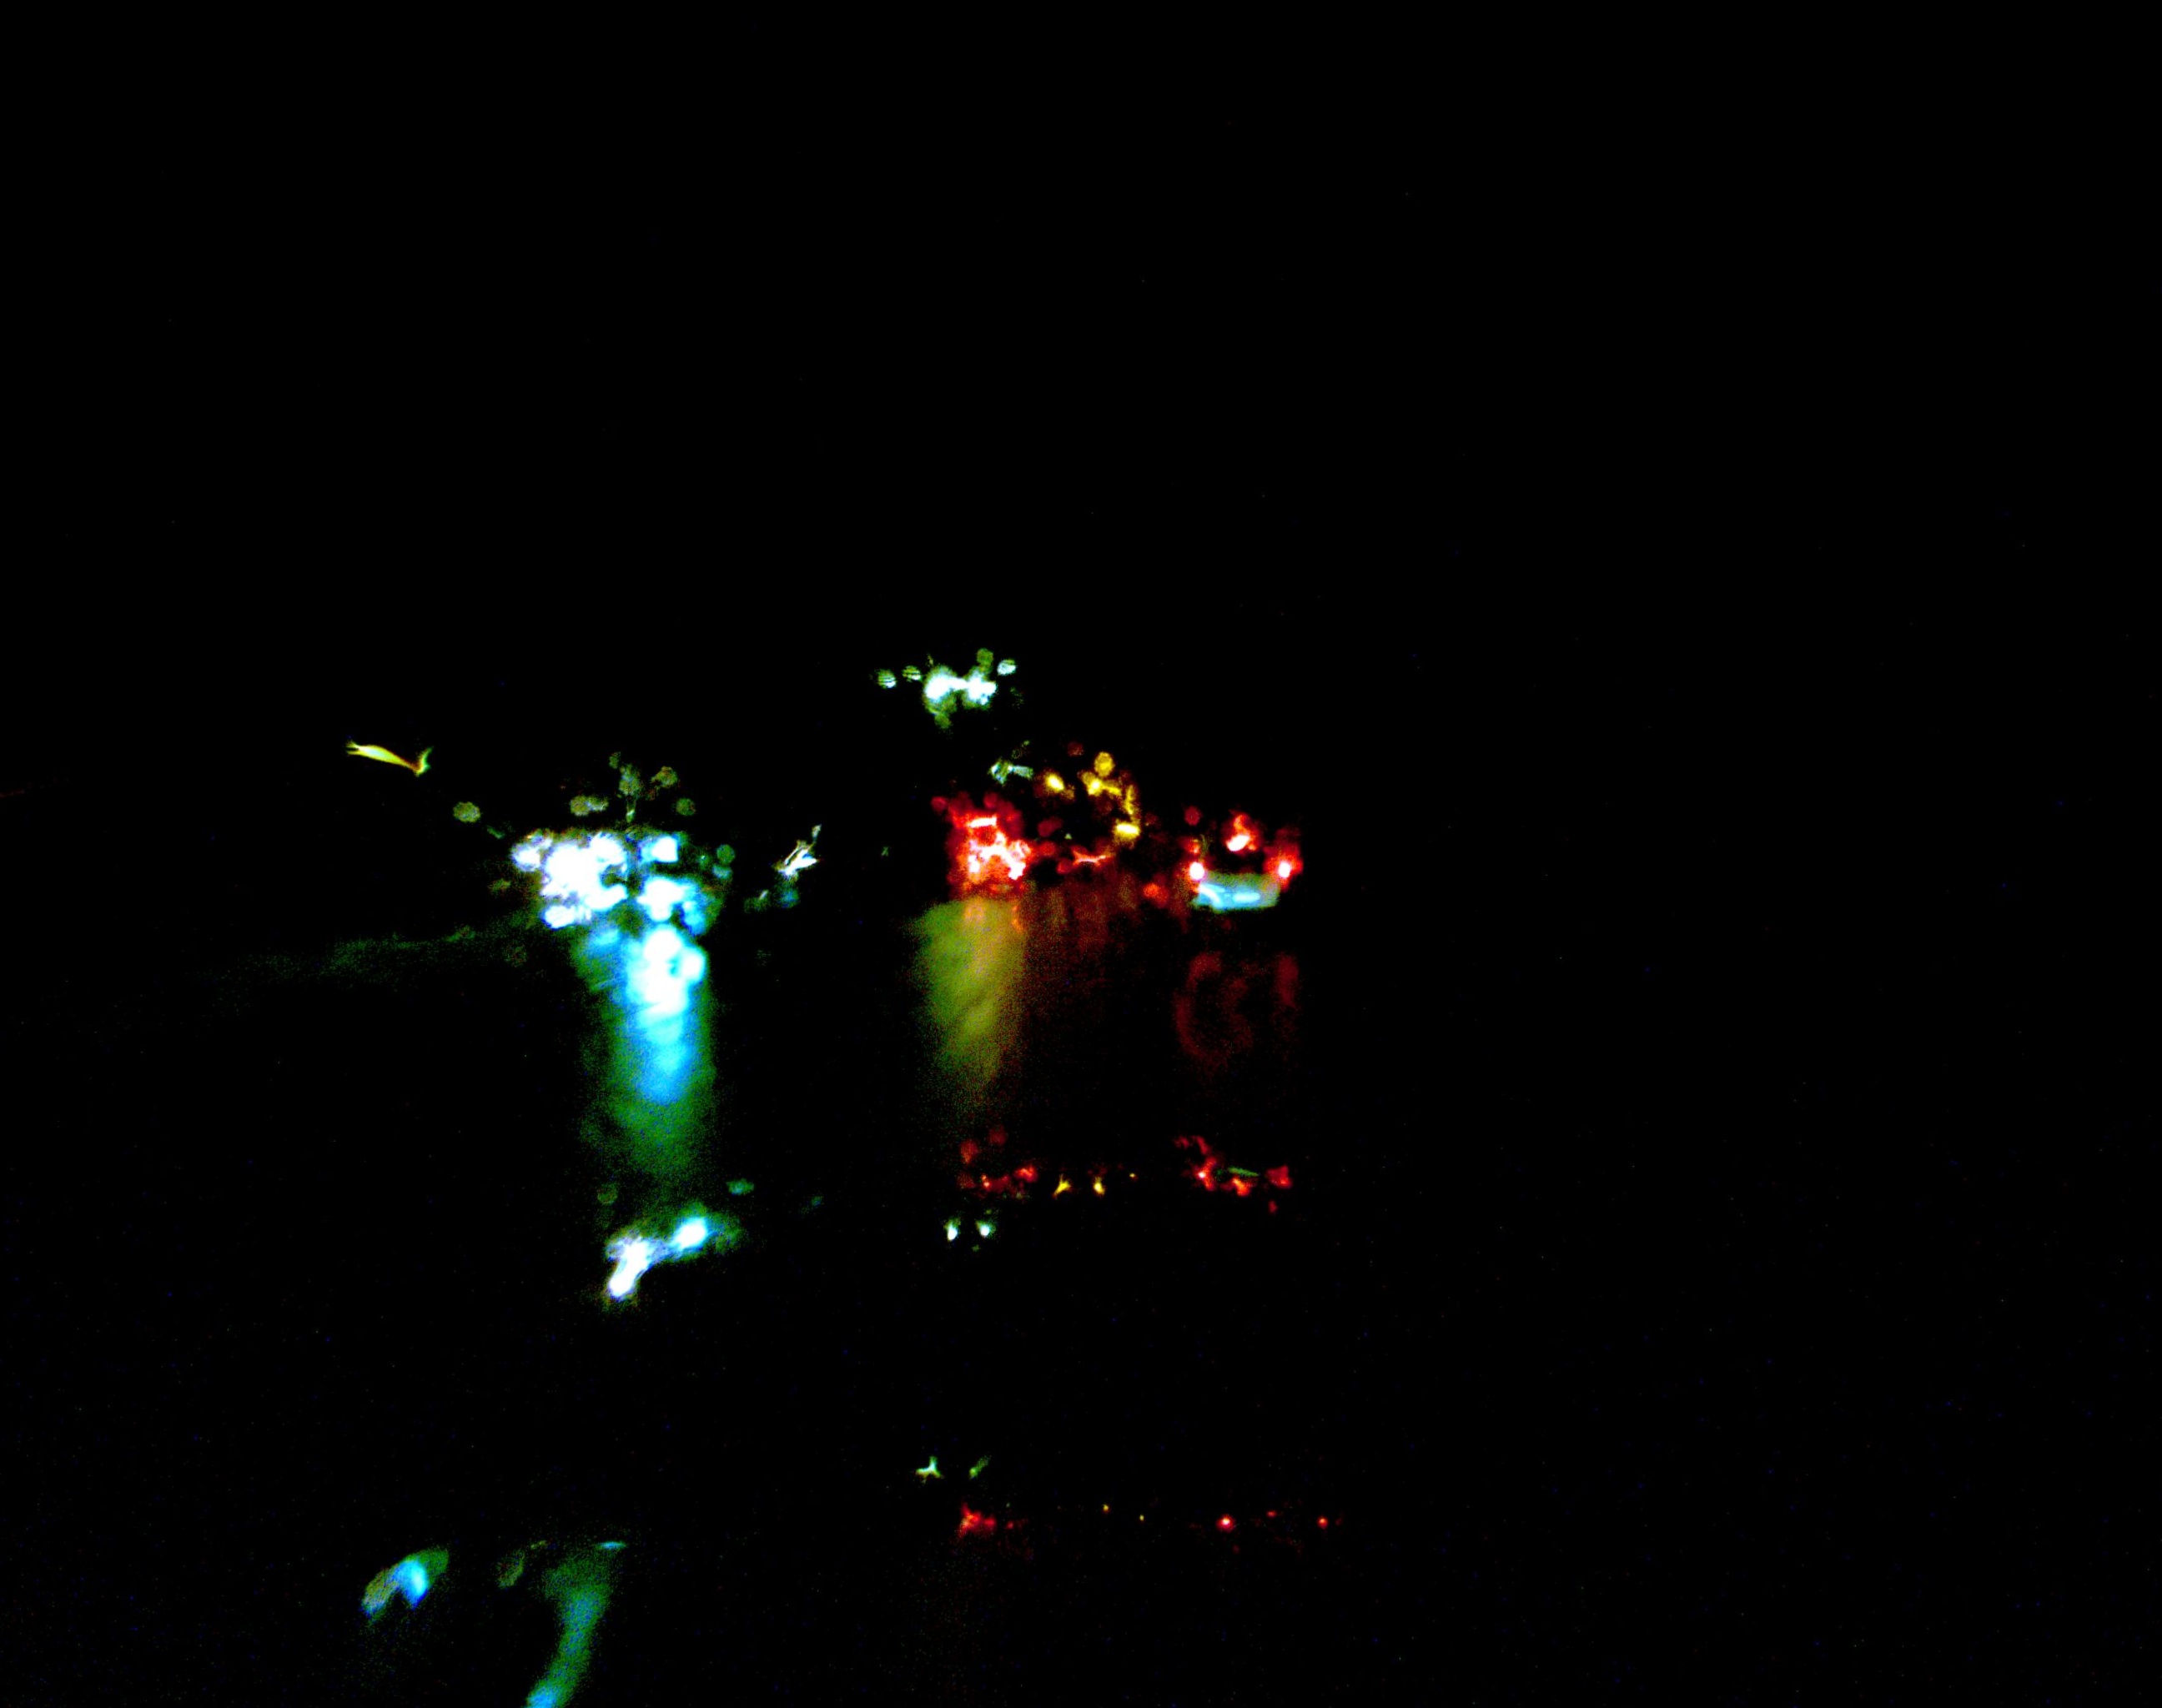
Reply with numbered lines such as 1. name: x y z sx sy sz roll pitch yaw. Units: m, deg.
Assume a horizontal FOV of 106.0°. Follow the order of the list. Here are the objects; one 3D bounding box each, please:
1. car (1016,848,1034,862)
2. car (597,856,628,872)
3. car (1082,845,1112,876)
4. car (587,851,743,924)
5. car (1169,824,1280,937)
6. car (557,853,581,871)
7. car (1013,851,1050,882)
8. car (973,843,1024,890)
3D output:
1. car: -7.767 0.176 112.733 1.986 1.717 4.000 3 -1 1
2. car: -47.544 0.982 82.633 1.724 1.519 3.980 0 0 -15
3. car: 1.033 0.417 55.503 1.787 2.022 4.576 -1 0 -2
4. car: -10.340 0.754 20.677 1.757 1.641 4.647 1 0 -3
5. car: 2.815 0.502 16.889 1.783 2.022 4.584 -1 -1 4
6. car: -44.176 0.684 70.313 1.520 1.518 4.332 1 -1 -30
7. car: -2.539 0.621 42.746 1.779 1.511 4.432 -2 0 -3
8. car: -3.308 0.478 33.524 1.779 1.782 4.432 -1 0 -2
